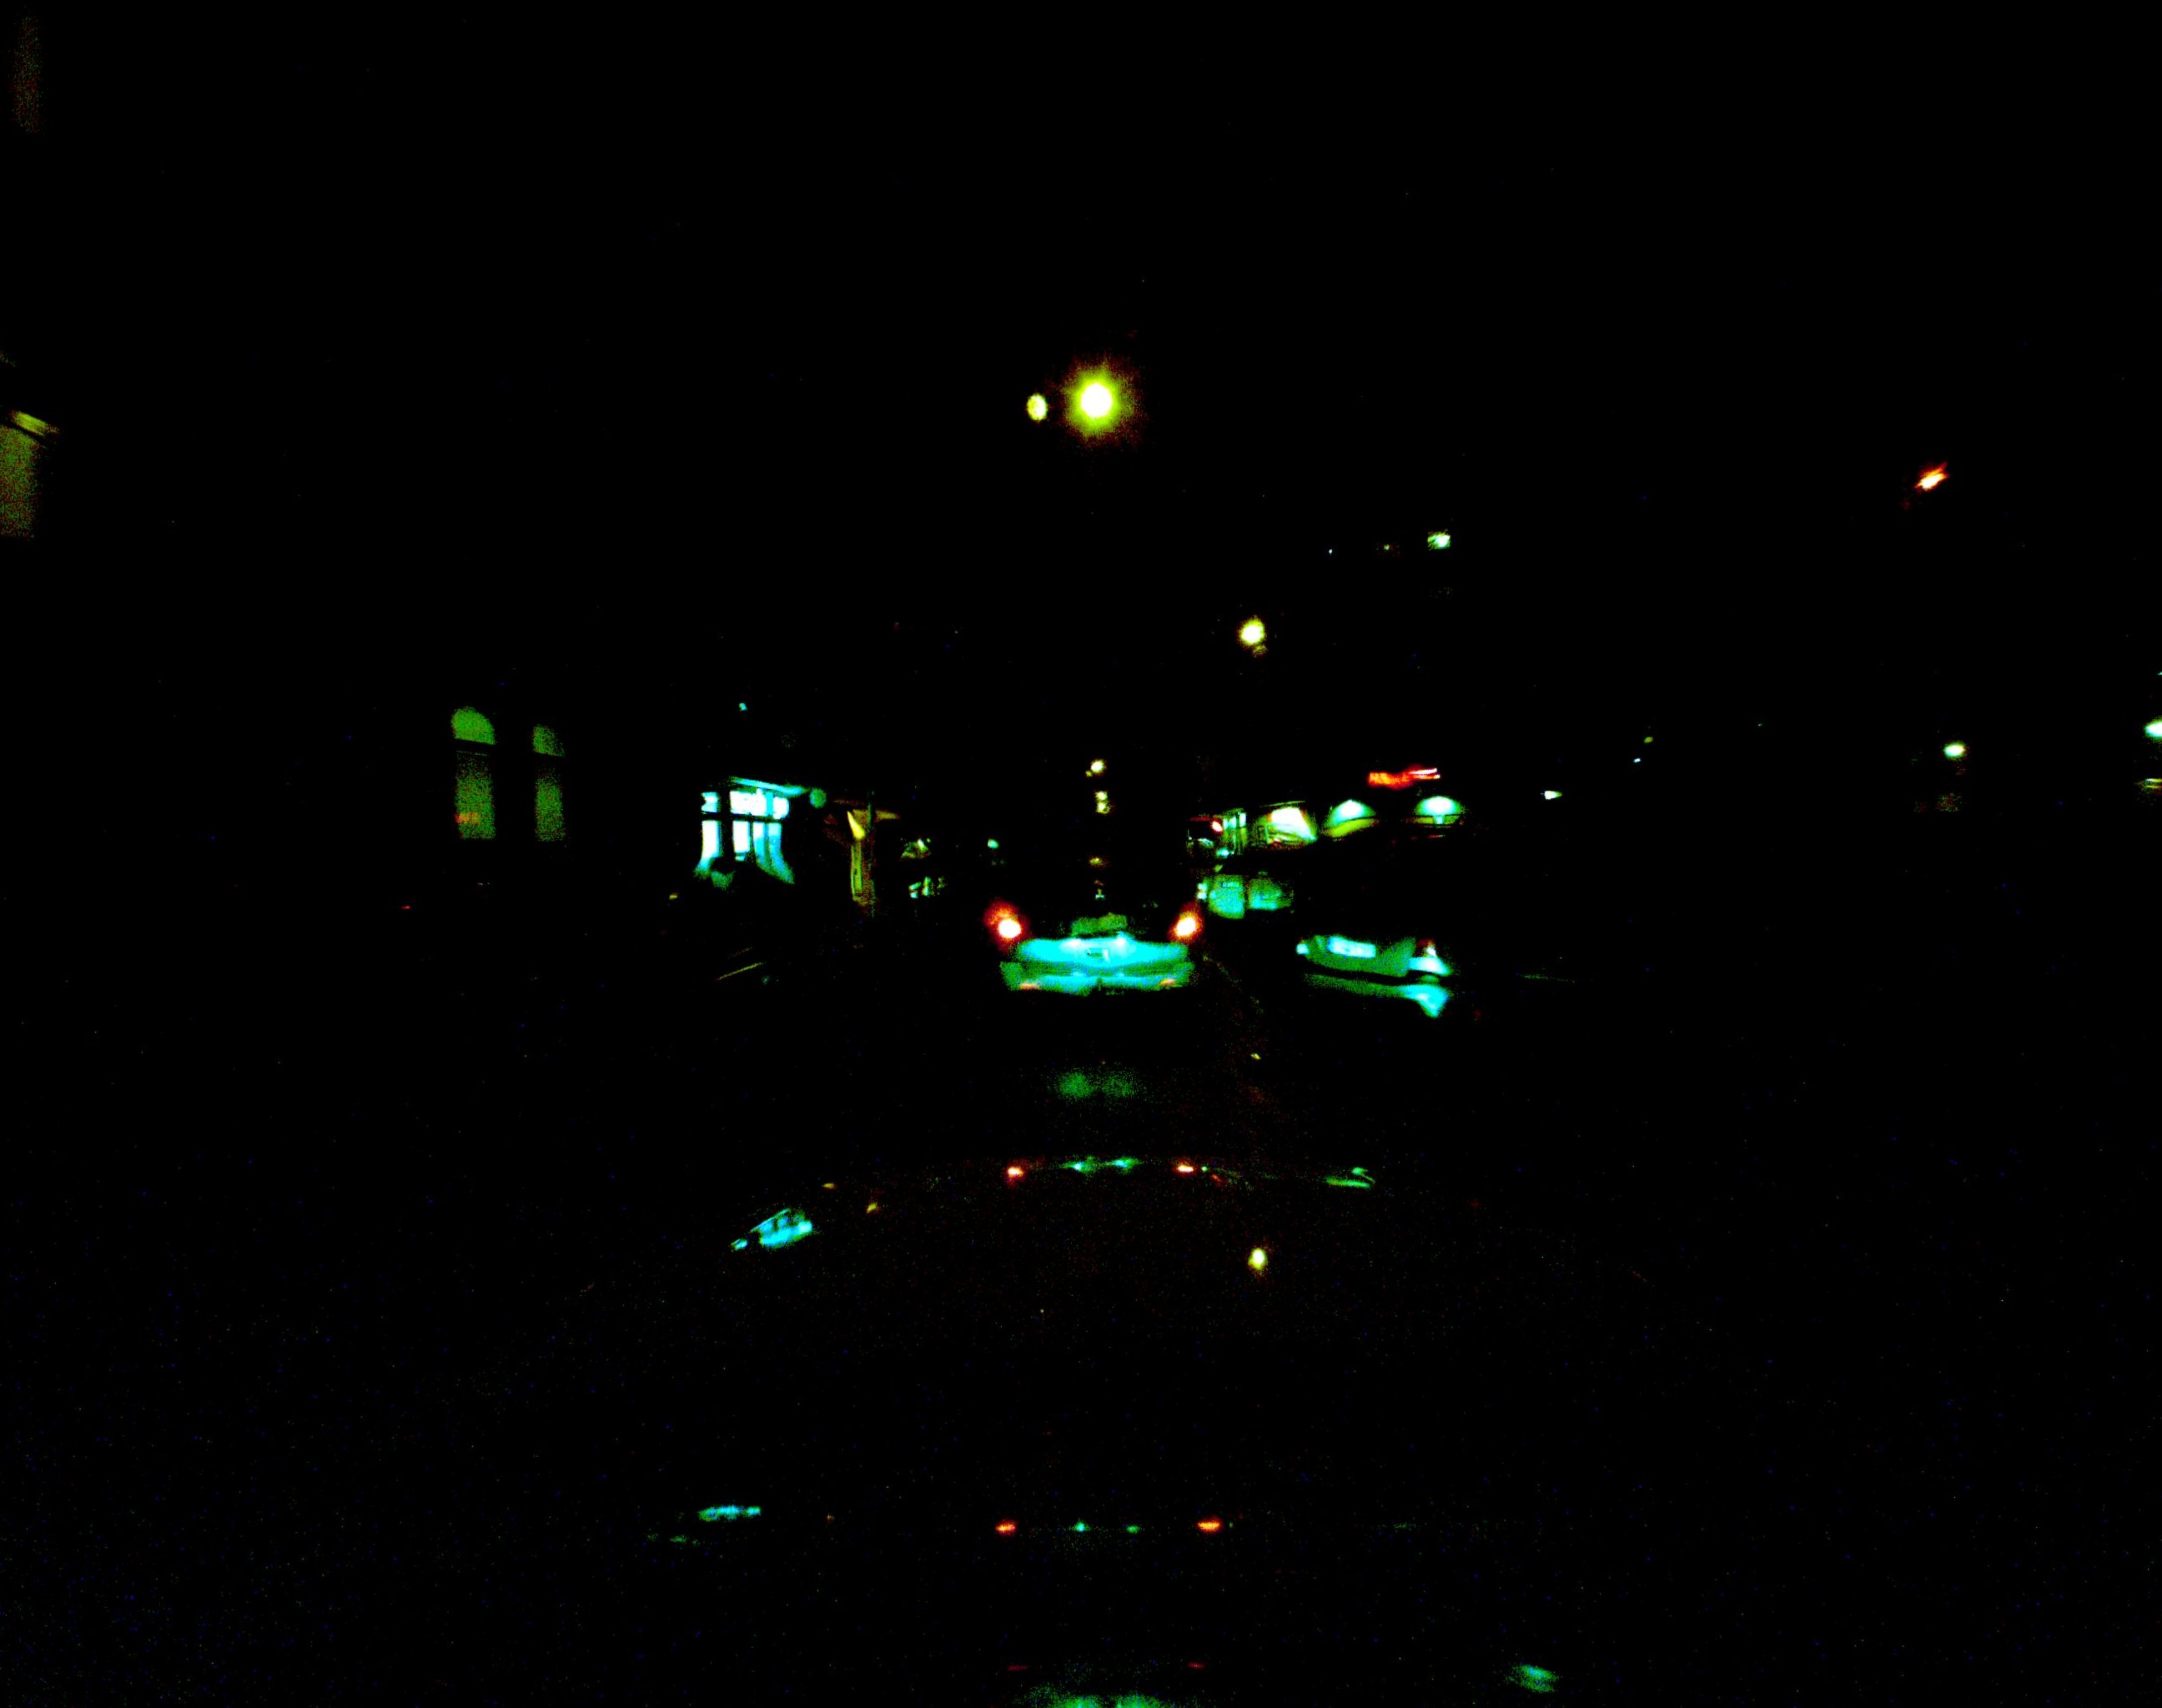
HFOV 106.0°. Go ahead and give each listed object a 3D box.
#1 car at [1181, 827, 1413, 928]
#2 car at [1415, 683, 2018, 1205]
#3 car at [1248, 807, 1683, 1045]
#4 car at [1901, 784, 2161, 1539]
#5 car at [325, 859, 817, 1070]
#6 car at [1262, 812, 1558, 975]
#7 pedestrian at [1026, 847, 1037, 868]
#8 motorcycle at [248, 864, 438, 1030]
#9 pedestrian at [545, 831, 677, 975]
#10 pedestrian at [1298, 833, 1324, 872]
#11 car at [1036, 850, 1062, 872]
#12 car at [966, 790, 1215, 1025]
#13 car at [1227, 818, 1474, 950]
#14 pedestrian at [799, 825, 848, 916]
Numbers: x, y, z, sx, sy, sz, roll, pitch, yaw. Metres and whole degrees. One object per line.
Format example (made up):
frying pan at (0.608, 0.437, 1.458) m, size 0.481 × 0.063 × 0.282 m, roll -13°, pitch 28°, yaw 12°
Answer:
car at (4.270, 0.396, 16.022) m, size 4.273 × 1.573 × 1.756 m, roll -4°, pitch 0°, yaw -27°
car at (3.965, 0.267, 4.922) m, size 3.755 × 2.028 × 1.703 m, roll -4°, pitch 0°, yaw -34°
car at (3.755, 0.483, 7.753) m, size 4.089 × 1.597 × 1.815 m, roll -4°, pitch 0°, yaw -33°
car at (3.912, 0.483, 2.091) m, size 3.718 × 1.453 × 1.642 m, roll -4°, pitch 0°, yaw -31°
car at (-4.617, 0.838, 8.572) m, size 1.840 × 1.478 × 5.033 m, roll -2°, pitch 0°, yaw 2°
car at (4.447, 0.416, 10.866) m, size 3.809 × 1.712 × 1.730 m, roll -4°, pitch 0°, yaw -33°
pedestrian at (-4.387, 0.305, 72.004) m, size 0.799 × 1.766 × 1.018 m, roll 0°, pitch -1°, yaw 7°
motorcycle at (-7.253, 0.853, 8.097) m, size 0.535 × 1.471 × 1.458 m, roll -1°, pitch 0°, yaw 1°
pedestrian at (-6.548, 0.649, 11.445) m, size 0.952 × 1.863 × 1.415 m, roll -2°, pitch 0°, yaw 0°
pedestrian at (11.031, -0.060, 39.045) m, size 0.867 × 1.833 × 0.990 m, roll -2°, pitch -1°, yaw 37°
car at (-2.287, 0.483, 59.519) m, size 1.580 × 1.463 × 4.026 m, roll 1°, pitch 0°, yaw 2°
car at (0.159, 0.466, 9.394) m, size 2.114 × 1.991 × 4.603 m, roll -2°, pitch 0°, yaw 2°
car at (4.394, 0.395, 13.130) m, size 3.755 × 1.712 × 1.753 m, roll -4°, pitch 0°, yaw -33°
pedestrian at (-6.536, 0.406, 20.725) m, size 0.796 × 2.241 × 1.116 m, roll -2°, pitch 0°, yaw 0°
